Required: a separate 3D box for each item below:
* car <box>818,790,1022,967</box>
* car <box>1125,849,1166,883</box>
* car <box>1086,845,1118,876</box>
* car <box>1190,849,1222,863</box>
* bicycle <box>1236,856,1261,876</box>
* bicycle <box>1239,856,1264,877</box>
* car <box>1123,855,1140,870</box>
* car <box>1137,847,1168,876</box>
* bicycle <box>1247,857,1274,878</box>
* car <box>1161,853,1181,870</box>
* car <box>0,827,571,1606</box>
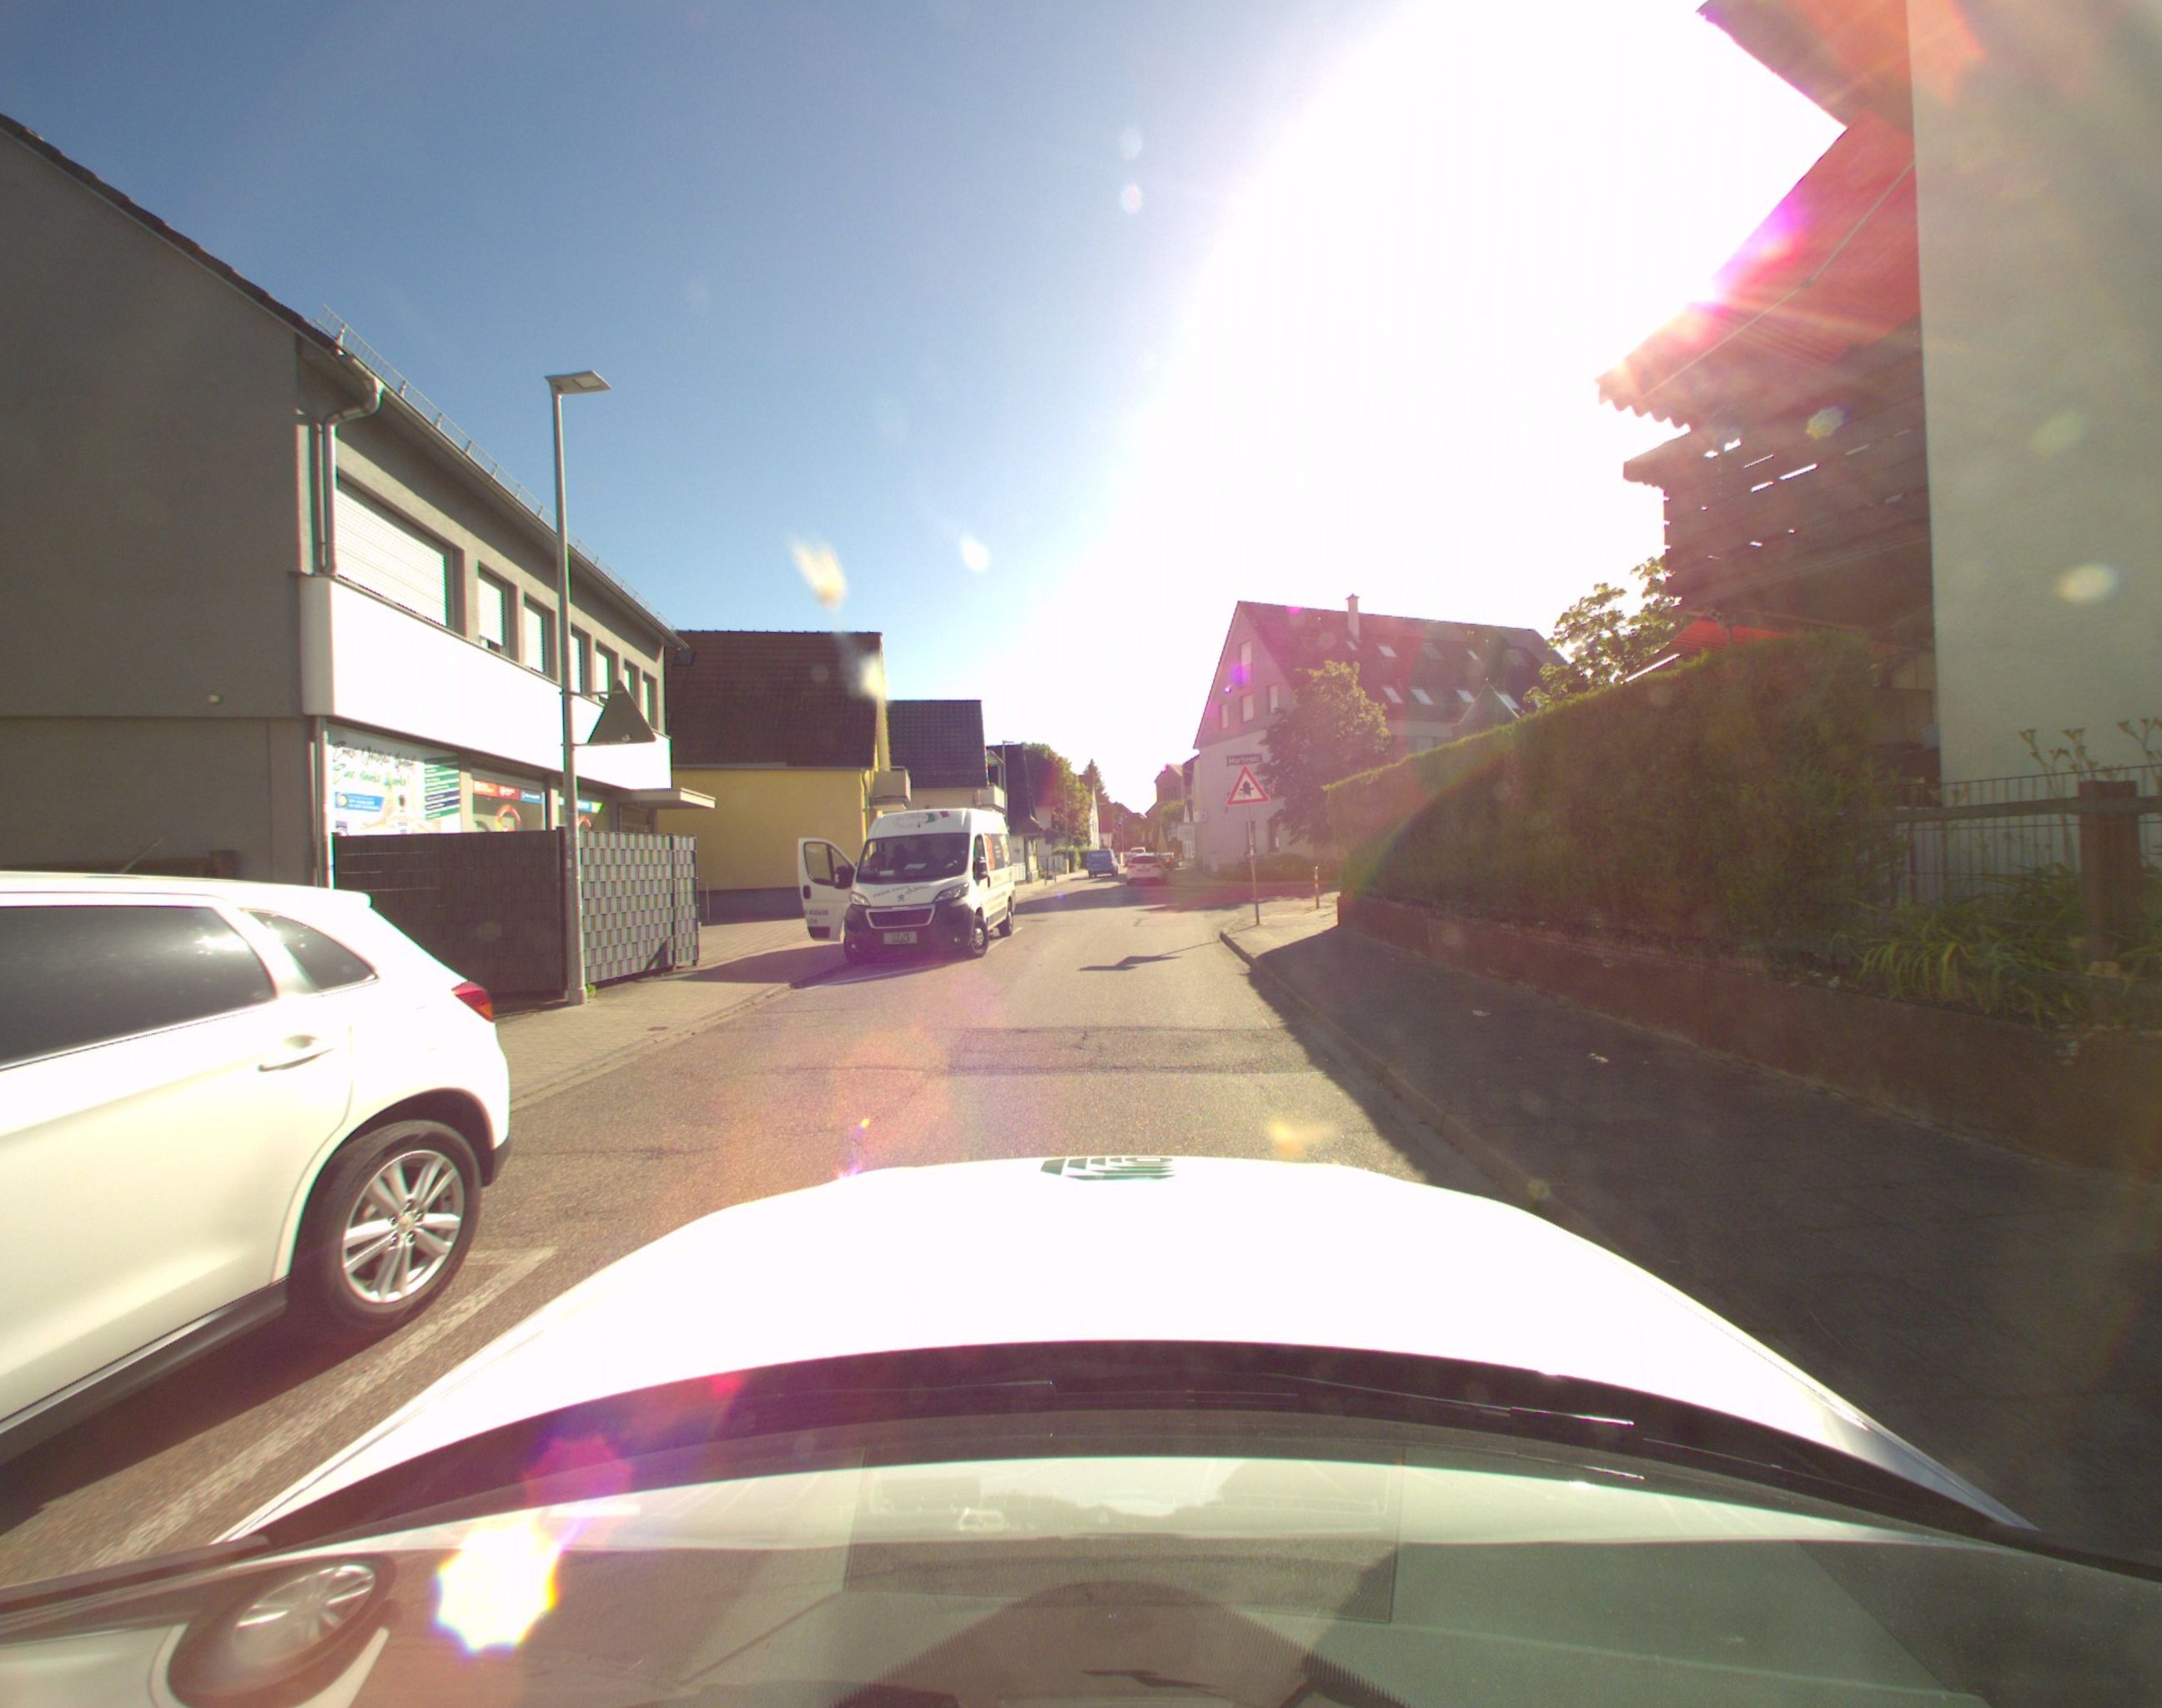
[{"bbox_3d":[-2.554,0.352,14.623,2.244,2.470,5.519,-3,0,2],"label":"car"},{"bbox_3d":[3.186,0.543,39.853,1.837,1.514,4.513,-2,0,6],"label":"car"},{"bbox_3d":[1.514,0.443,56.923,1.894,1.917,5.075,-3,0,4],"label":"car"},{"bbox_3d":[16.371,0.254,106.521,3.882,1.492,1.855,-3,-1,16],"label":"car"},{"bbox_3d":[8.200,0.595,39.906,1.155,0.920,0.314,-3,0,13],"label":"bicycle"},{"bbox_3d":[8.256,0.609,39.475,1.155,0.920,0.314,-3,0,13],"label":"bicycle"},{"bbox_3d":[6.082,1.003,98.114,1.705,1.598,3.934,-3,0,8],"label":"car"},{"bbox_3d":[3.977,0.394,45.574,1.602,1.521,3.976,-1,0,4],"label":"car"},{"bbox_3d":[8.334,0.622,37.848,1.158,0.920,0.313,-3,0,2],"label":"bicycle"},{"bbox_3d":[8.529,0.710,77.277,1.802,1.475,4.668,-2,0,6],"label":"car"},{"bbox_3d":[-3.140,0.792,1.476,1.716,1.618,4.112,-3,0,1],"label":"car"}]
